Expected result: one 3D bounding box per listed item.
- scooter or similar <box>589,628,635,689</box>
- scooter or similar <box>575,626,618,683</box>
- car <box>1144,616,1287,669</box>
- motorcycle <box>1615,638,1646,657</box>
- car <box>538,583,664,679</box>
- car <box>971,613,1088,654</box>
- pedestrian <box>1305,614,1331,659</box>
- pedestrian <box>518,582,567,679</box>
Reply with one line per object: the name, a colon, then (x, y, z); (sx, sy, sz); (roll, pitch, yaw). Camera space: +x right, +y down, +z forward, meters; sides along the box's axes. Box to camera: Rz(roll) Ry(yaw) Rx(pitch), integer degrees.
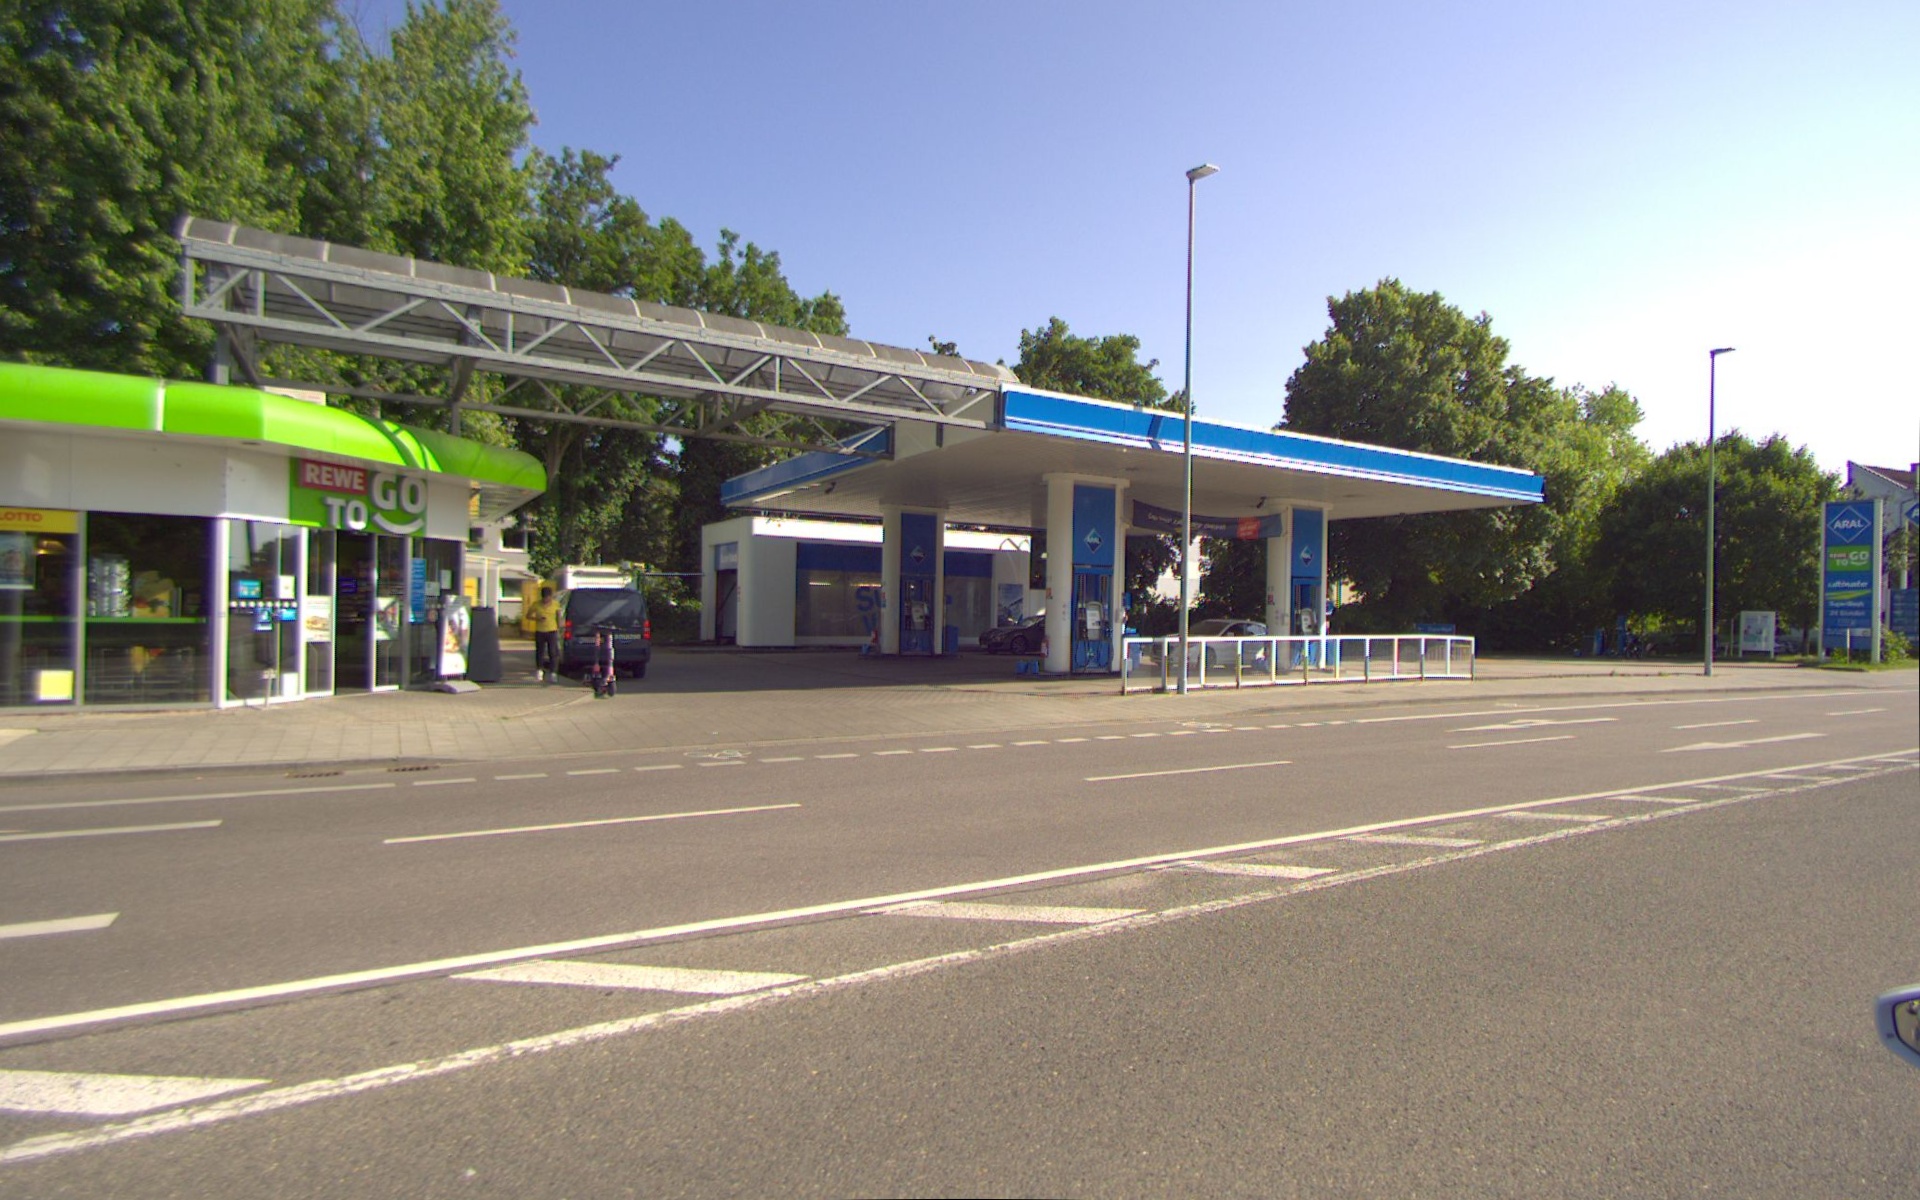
scooter or similar: (-6.062, 0.997, 17.463); (0.494, 1.000, 1.253); (1, -1, -31)
scooter or similar: (-6.742, 0.994, 18.616); (0.494, 0.998, 1.332); (1, -1, -31)
car: (7.434, 1.217, 29.120); (4.077, 1.412, 1.734); (2, -1, -33)
motorcycle: (33.201, 2.330, 49.749); (1.652, 0.913, 0.667); (2, -1, -32)
car: (-8.294, 0.651, 22.923); (1.976, 1.961, 4.517); (2, -1, -29)
car: (2.584, 1.237, 37.069); (4.077, 1.412, 1.734); (2, -1, -33)
pedestrian: (14.141, 1.439, 39.676); (0.844, 1.751, 0.655); (2, -1, -44)
pedestrian: (-7.774, 0.562, 18.704); (0.774, 1.768, 0.766); (1, -1, -26)
